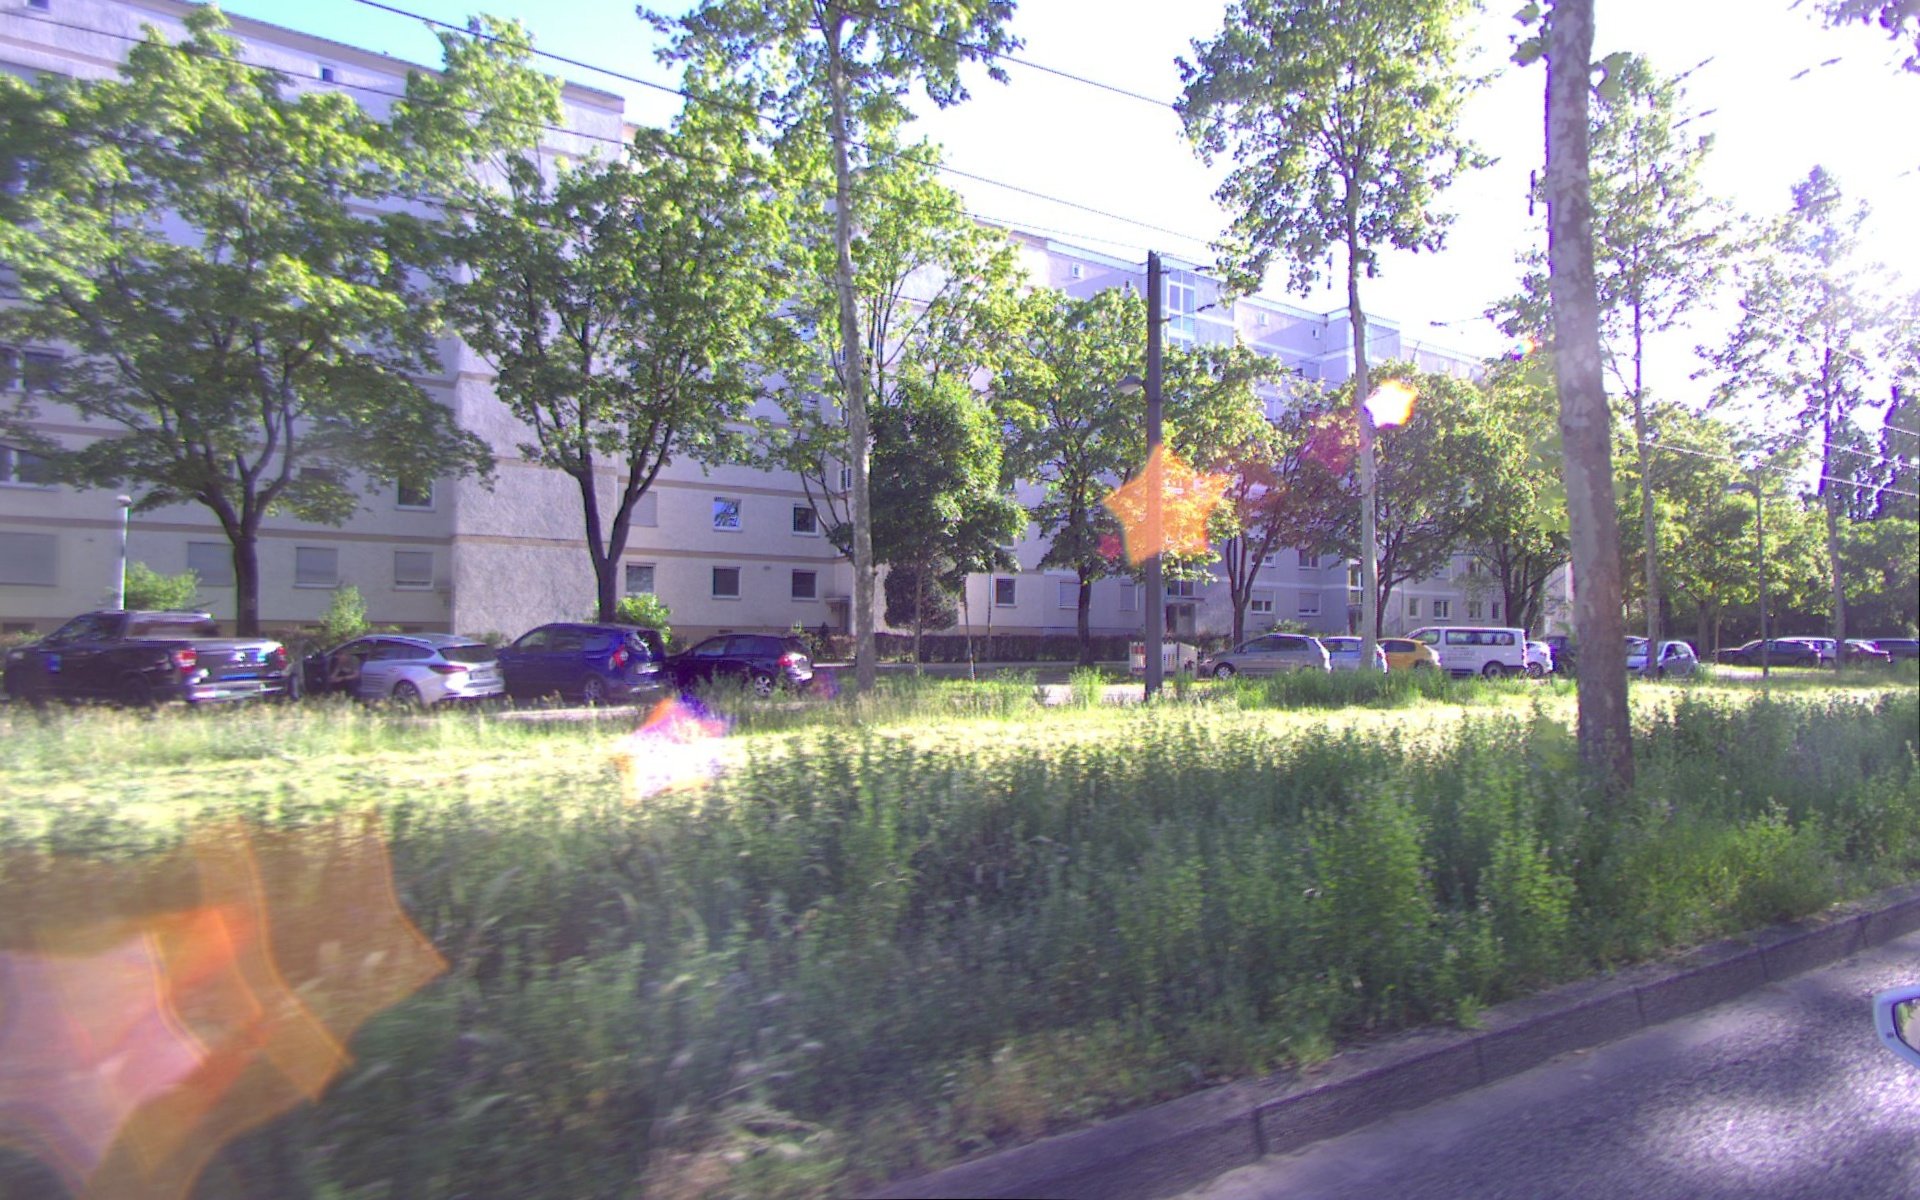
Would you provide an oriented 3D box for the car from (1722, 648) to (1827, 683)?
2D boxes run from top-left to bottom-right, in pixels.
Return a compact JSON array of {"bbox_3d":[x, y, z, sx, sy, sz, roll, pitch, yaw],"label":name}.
[{"bbox_3d":[43.072,3.443,53.209,3.900,1.697,1.788,0,-2,18],"label":"car"}]

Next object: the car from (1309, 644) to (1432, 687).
[{"bbox_3d":[14.691,2.345,36.146,4.005,1.451,1.580,0,-3,21],"label":"car"}]

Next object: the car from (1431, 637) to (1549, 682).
[{"bbox_3d":[20.732,2.310,39.430,4.009,1.451,1.577,2,1,27],"label":"car"}]

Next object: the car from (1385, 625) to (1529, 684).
[{"bbox_3d":[18.471,1.972,37.562,4.706,2.033,1.891,0,0,23],"label":"car"}]

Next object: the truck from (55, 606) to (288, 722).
[{"bbox_3d":[-14.247,1.078,18.126,4.008,1.798,1.650,2,-1,25],"label":"truck"}]

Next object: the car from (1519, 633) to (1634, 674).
[{"bbox_3d":[26.372,2.275,43.129,4.008,1.628,1.993,-1,-1,25],"label":"car"}]

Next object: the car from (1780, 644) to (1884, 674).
[{"bbox_3d":[47.199,3.164,54.443,3.843,1.507,1.796,0,-2,18],"label":"car"}]

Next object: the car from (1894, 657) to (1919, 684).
[{"bbox_3d":[59.703,4.316,60.726,4.397,1.589,1.796,0,-2,18],"label":"car"}]

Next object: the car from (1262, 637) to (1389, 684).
[{"bbox_3d":[12.493,2.032,34.485,4.004,1.502,1.652,0,-2,19],"label":"car"}]

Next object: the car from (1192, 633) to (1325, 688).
[{"bbox_3d":[9.642,1.917,32.454,4.004,1.667,1.652,0,-2,19],"label":"car"}]

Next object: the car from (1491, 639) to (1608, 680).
[{"bbox_3d":[24.049,2.401,41.169,4.010,1.551,1.816,-1,-1,27],"label":"car"}]

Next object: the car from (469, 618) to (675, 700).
[{"bbox_3d":[-8.535,1.260,22.169,4.003,1.668,1.652,0,1,15],"label":"car"}]

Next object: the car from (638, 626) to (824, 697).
[{"bbox_3d":[-5.461,1.432,24.061,4.002,1.496,1.652,0,2,14],"label":"car"}]

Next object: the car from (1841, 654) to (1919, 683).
[{"bbox_3d":[55.086,4.031,59.158,4.397,1.589,1.796,0,-2,18],"label":"car"}]

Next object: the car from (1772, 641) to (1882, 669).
[{"bbox_3d":[48.653,3.079,56.477,4.402,1.501,1.617,0,-2,25],"label":"car"}]

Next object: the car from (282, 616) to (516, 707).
[{"bbox_3d":[-11.133,1.205,19.990,4.003,1.667,1.652,0,-3,15],"label":"car"}]

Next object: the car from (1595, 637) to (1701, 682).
[{"bbox_3d":[24.385,2.091,35.563,3.804,1.505,1.638,2,-3,-30],"label":"car"}]

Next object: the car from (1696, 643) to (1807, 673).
[{"bbox_3d":[40.196,2.921,51.103,4.050,1.355,1.796,0,-1,18],"label":"car"}]
